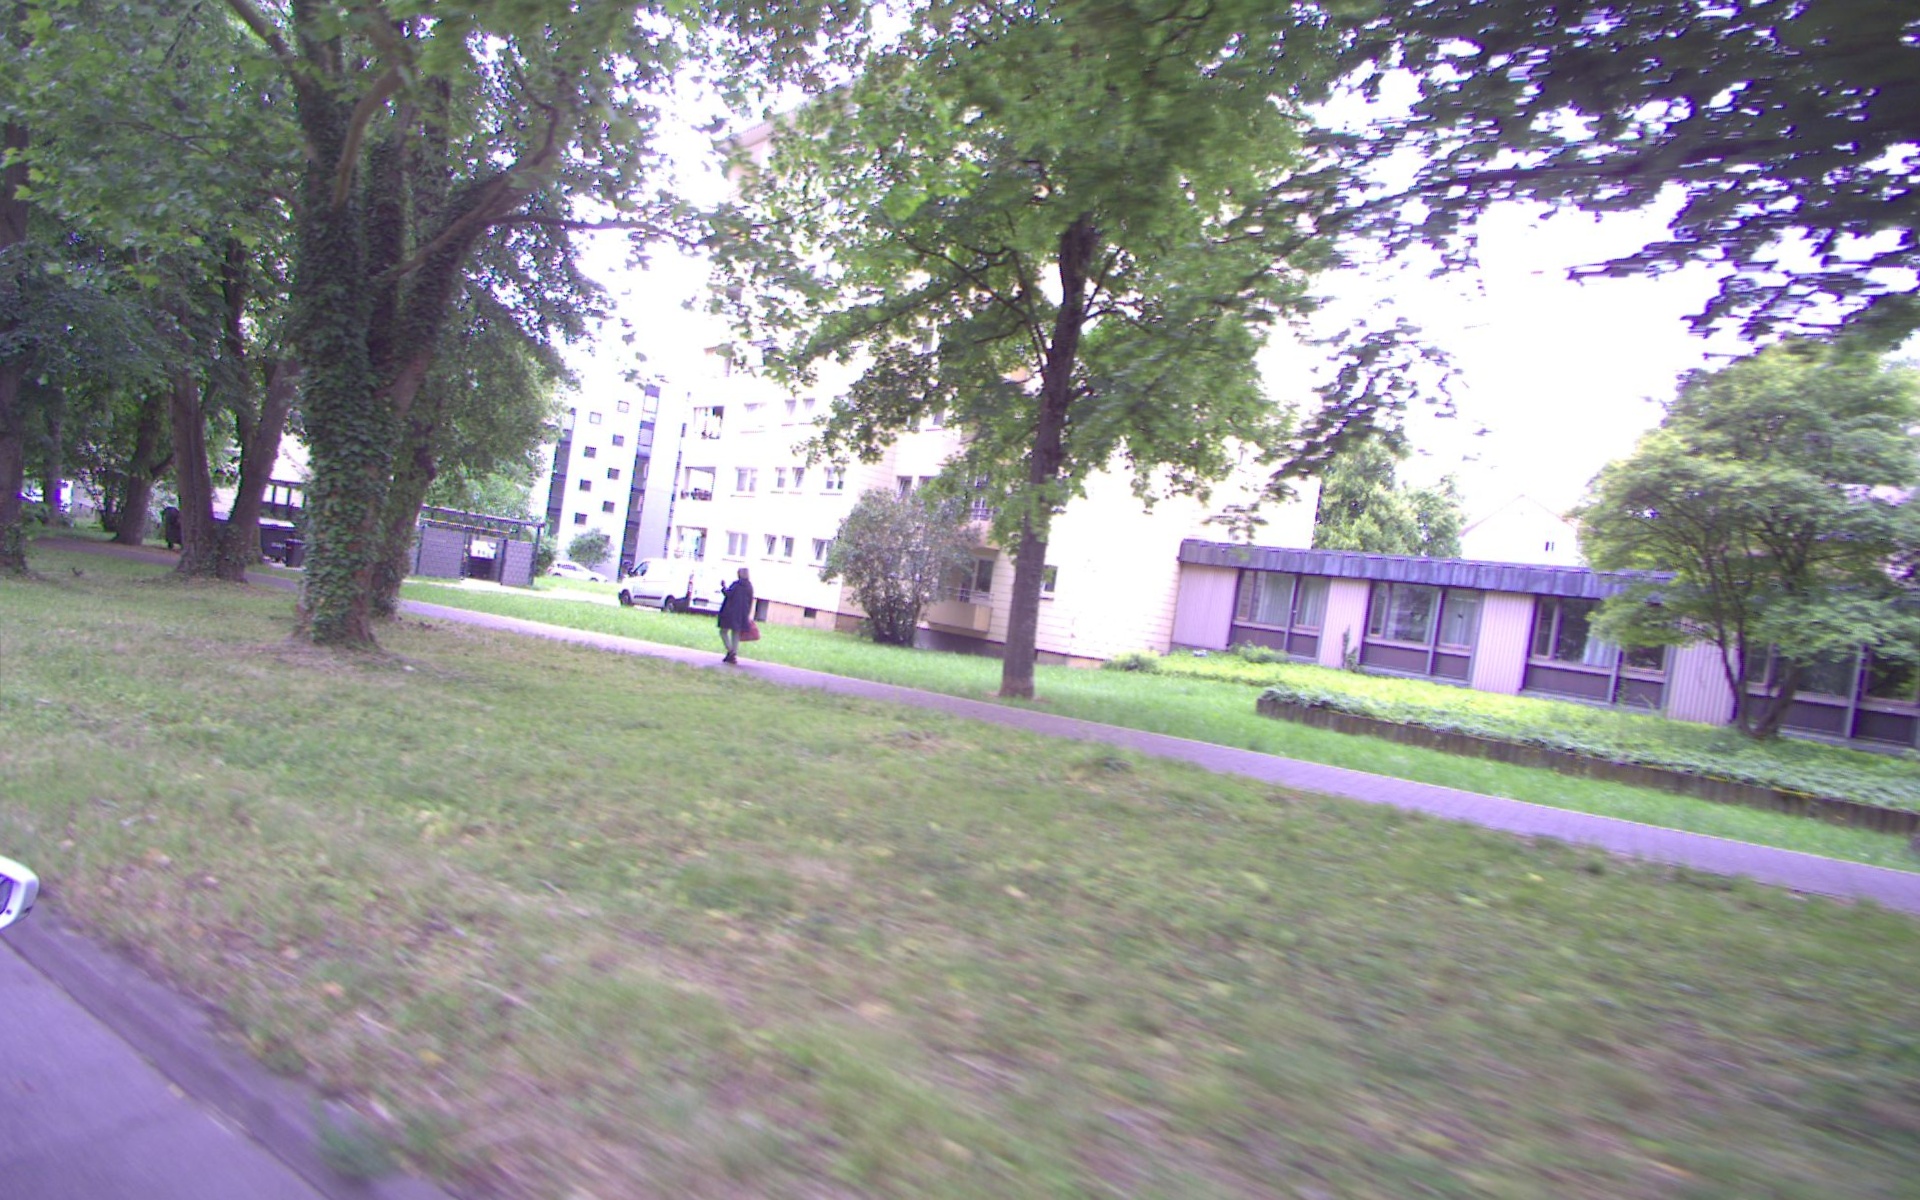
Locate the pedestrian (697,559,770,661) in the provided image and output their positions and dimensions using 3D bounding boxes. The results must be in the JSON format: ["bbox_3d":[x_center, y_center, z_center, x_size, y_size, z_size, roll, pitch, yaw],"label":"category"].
[{"bbox_3d":[-4.034,0.186,17.922,0.801,1.707,0.769,7,1,30],"label":"pedestrian"}]

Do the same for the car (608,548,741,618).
[{"bbox_3d":[-10.404,-0.638,36.457,4.895,1.866,2.084,8,1,40],"label":"car"}]

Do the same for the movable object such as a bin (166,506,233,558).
[{"bbox_3d":[-26.128,-2.327,34.571,1.292,1.520,1.329,7,1,29],"label":"movable object such as a bin"}]

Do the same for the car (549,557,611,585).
[{"bbox_3d":[-29.200,-2.230,77.335,4.277,1.528,1.791,7,-1,-21],"label":"car"}]

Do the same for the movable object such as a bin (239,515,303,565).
[{"bbox_3d":[-24.189,-2.102,35.330,1.292,1.520,1.329,7,1,29],"label":"movable object such as a bin"}]

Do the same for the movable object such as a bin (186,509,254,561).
[{"bbox_3d":[-24.905,-2.186,33.874,1.292,1.520,1.329,7,1,29],"label":"movable object such as a bin"}]

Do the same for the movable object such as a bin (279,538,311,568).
[{"bbox_3d":[-22.609,-1.600,34.186,0.657,0.889,0.599,7,1,29],"label":"movable object such as a bin"}]

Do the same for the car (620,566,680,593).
[{"bbox_3d":[-24.204,-1.578,78.591,4.277,1.528,1.791,7,-1,-21],"label":"car"}]

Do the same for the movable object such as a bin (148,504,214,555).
[{"bbox_3d":[-27.286,-2.460,35.235,1.292,1.520,1.329,7,1,29],"label":"movable object such as a bin"}]
